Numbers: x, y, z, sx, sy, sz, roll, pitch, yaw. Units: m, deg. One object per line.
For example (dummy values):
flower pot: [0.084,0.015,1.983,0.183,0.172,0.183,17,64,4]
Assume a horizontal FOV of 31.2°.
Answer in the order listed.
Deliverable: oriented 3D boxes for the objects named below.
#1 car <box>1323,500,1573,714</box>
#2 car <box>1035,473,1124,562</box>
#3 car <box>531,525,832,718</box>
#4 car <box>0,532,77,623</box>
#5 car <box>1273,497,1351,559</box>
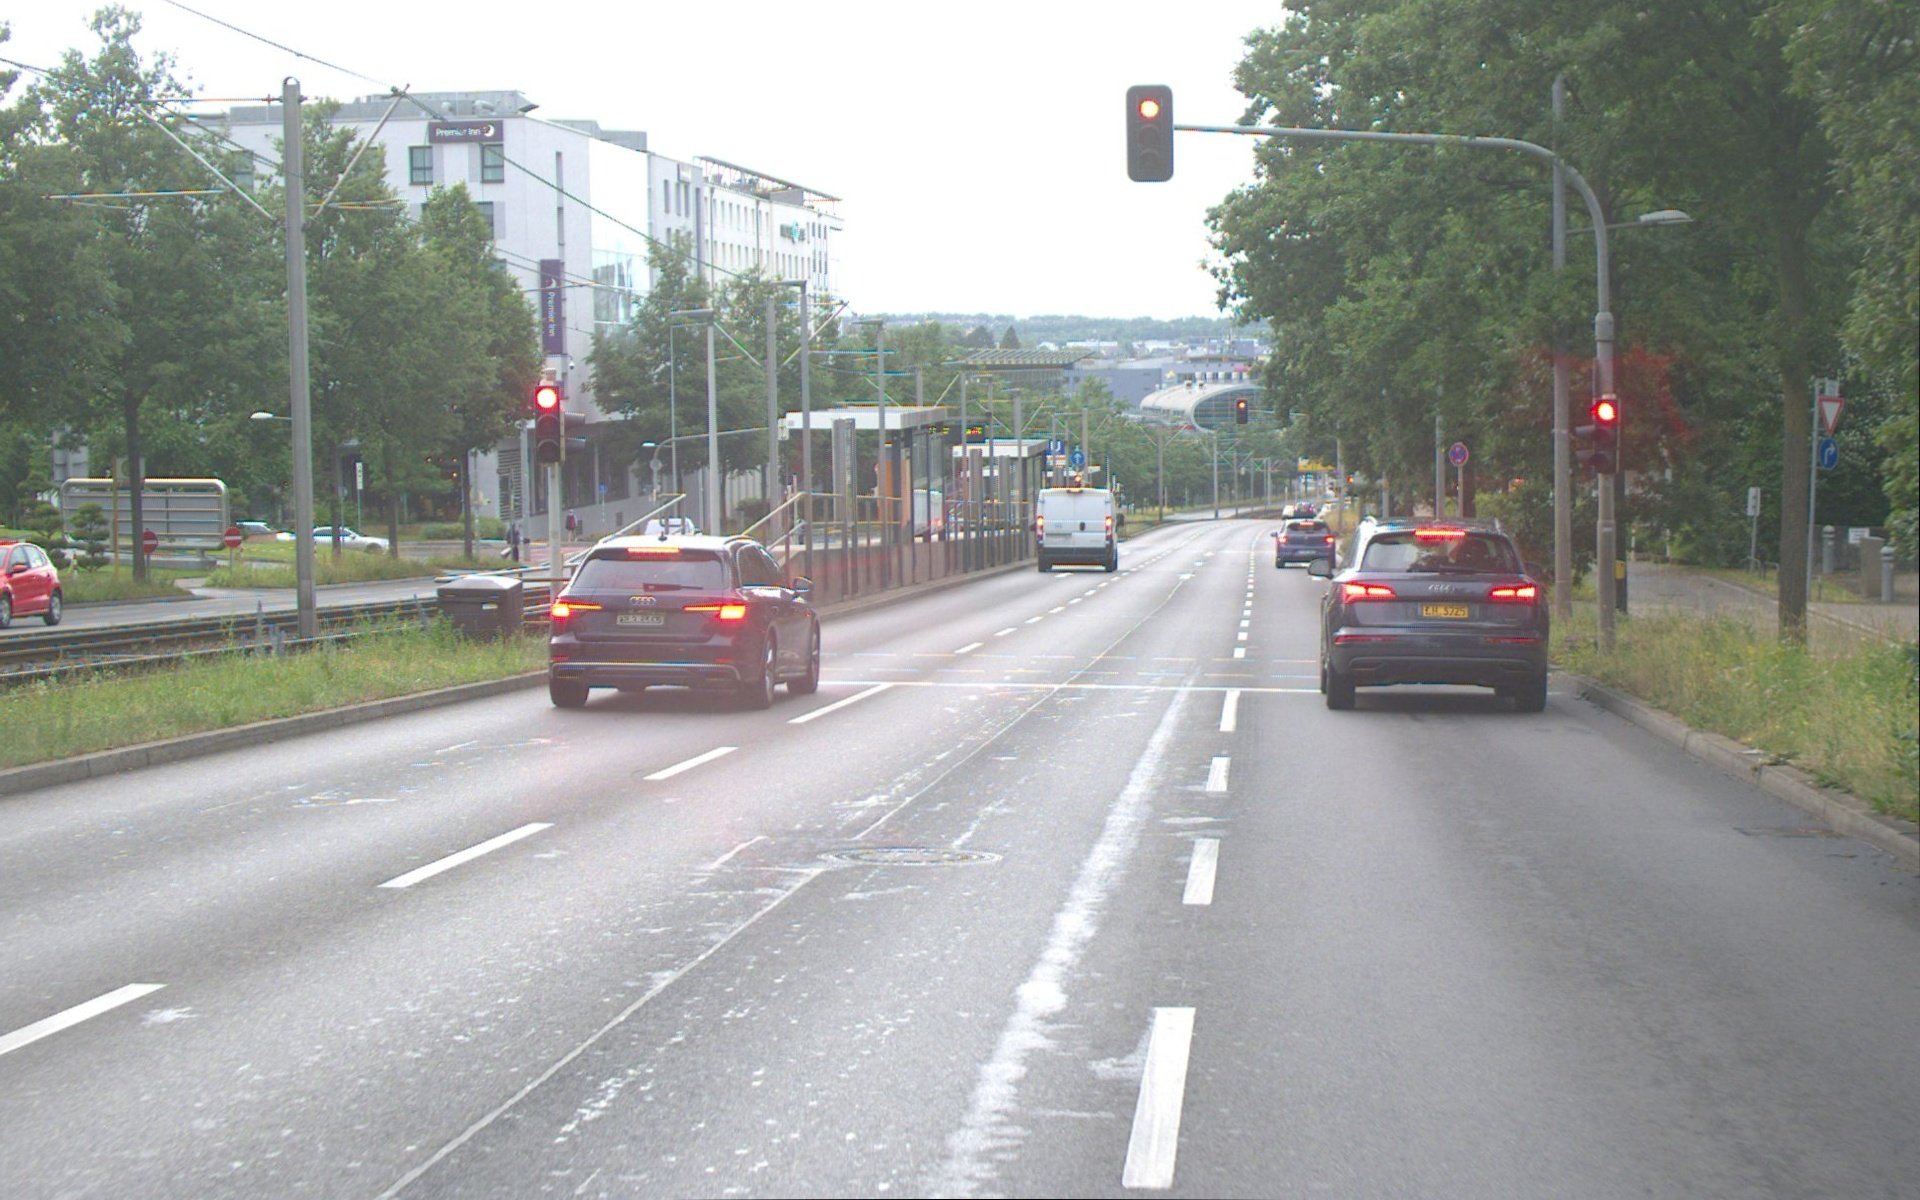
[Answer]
car: [4.199,0.024,30.111,1.923,1.705,4.097,1,1,5]
car: [3.229,-2.273,93.568,2.268,2.277,4.760,1,3,1]
car: [-2.267,0.110,29.225,1.786,1.409,4.805,1,2,5]
car: [-16.051,-0.393,56.669,1.663,1.437,3.896,1,1,6]
car: [10.567,-2.179,102.964,2.049,1.736,4.573,1,3,9]
